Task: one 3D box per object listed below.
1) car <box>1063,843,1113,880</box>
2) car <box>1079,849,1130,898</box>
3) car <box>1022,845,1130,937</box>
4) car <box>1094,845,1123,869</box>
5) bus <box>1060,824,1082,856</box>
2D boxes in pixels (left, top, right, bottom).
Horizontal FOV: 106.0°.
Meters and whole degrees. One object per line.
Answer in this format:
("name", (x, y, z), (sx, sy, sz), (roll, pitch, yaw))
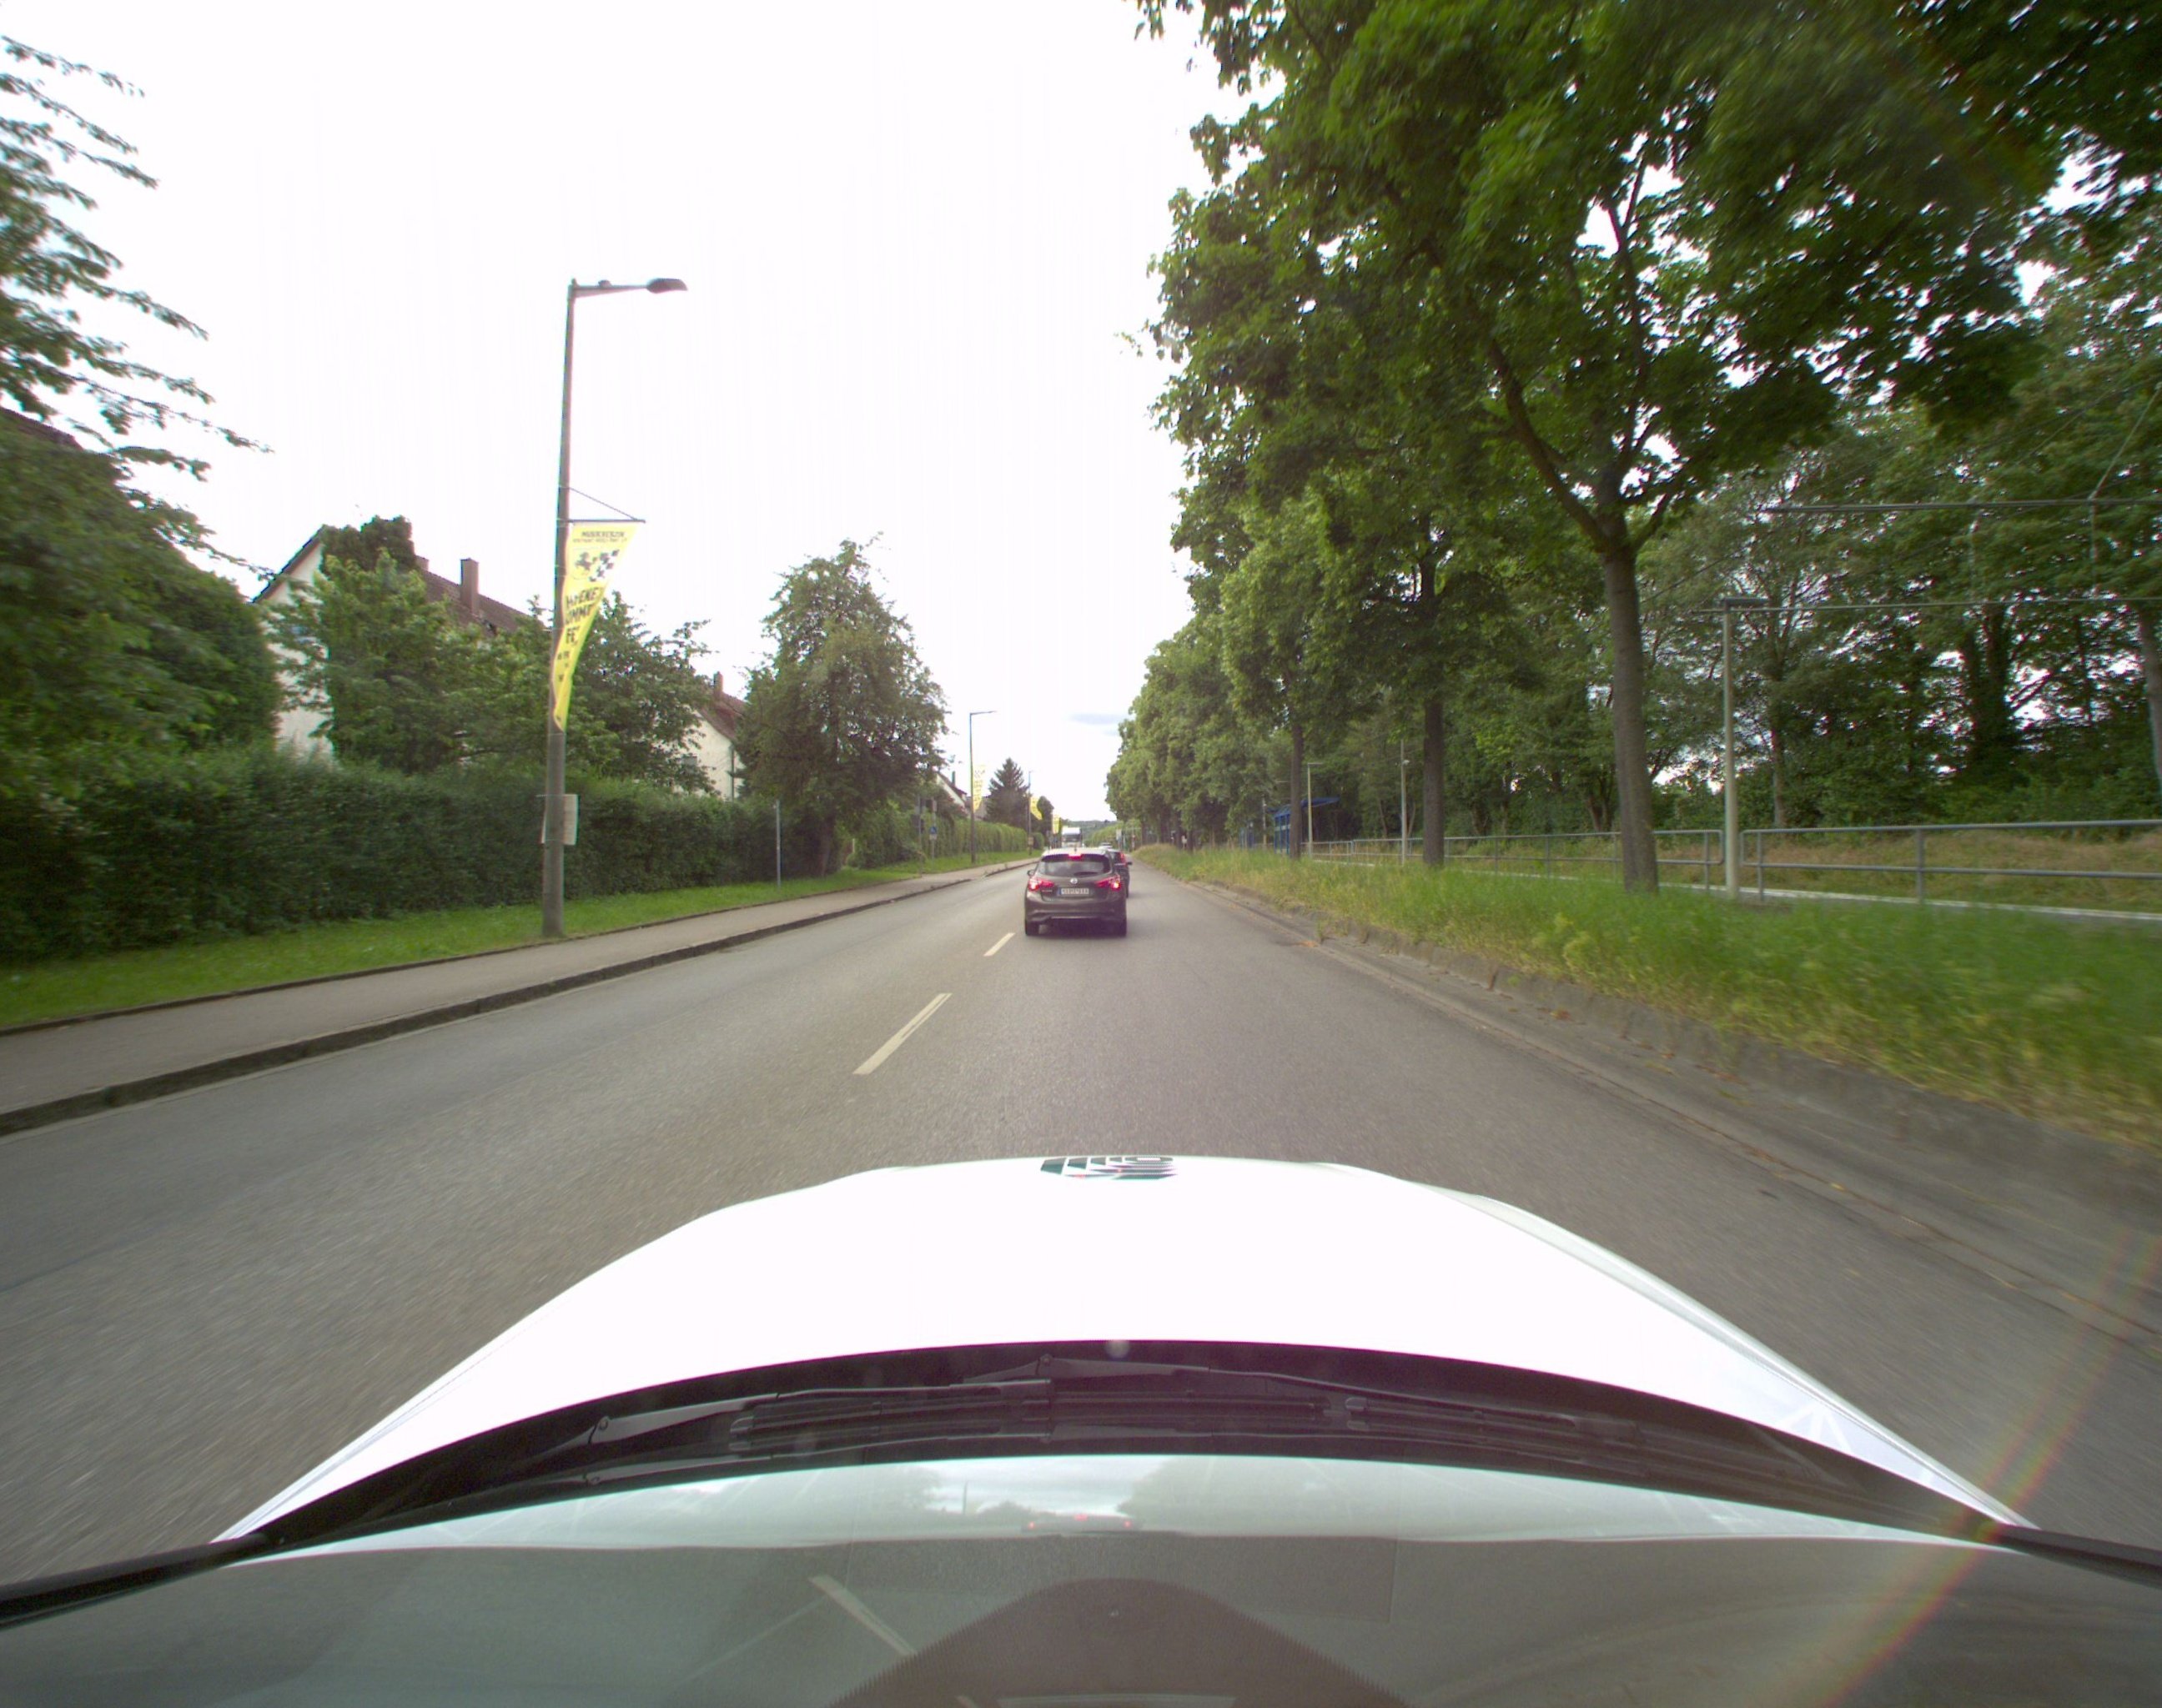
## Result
("car", (0.351, 0.316, 35.118), (1.986, 1.486, 4.001), (1, 0, 2))
("car", (0.746, 0.575, 25.802), (1.496, 1.441, 3.542), (0, 0, 1))
("car", (-0.019, 0.605, 15.278), (1.777, 1.507, 3.697), (0, 0, 2))
("car", (1.687, 0.173, 50.611), (1.685, 1.441, 3.542), (0, 0, 1))
("bus", (-1.255, -1.886, 109.806), (2.478, 4.025, 10.220), (0, 1, 1))
